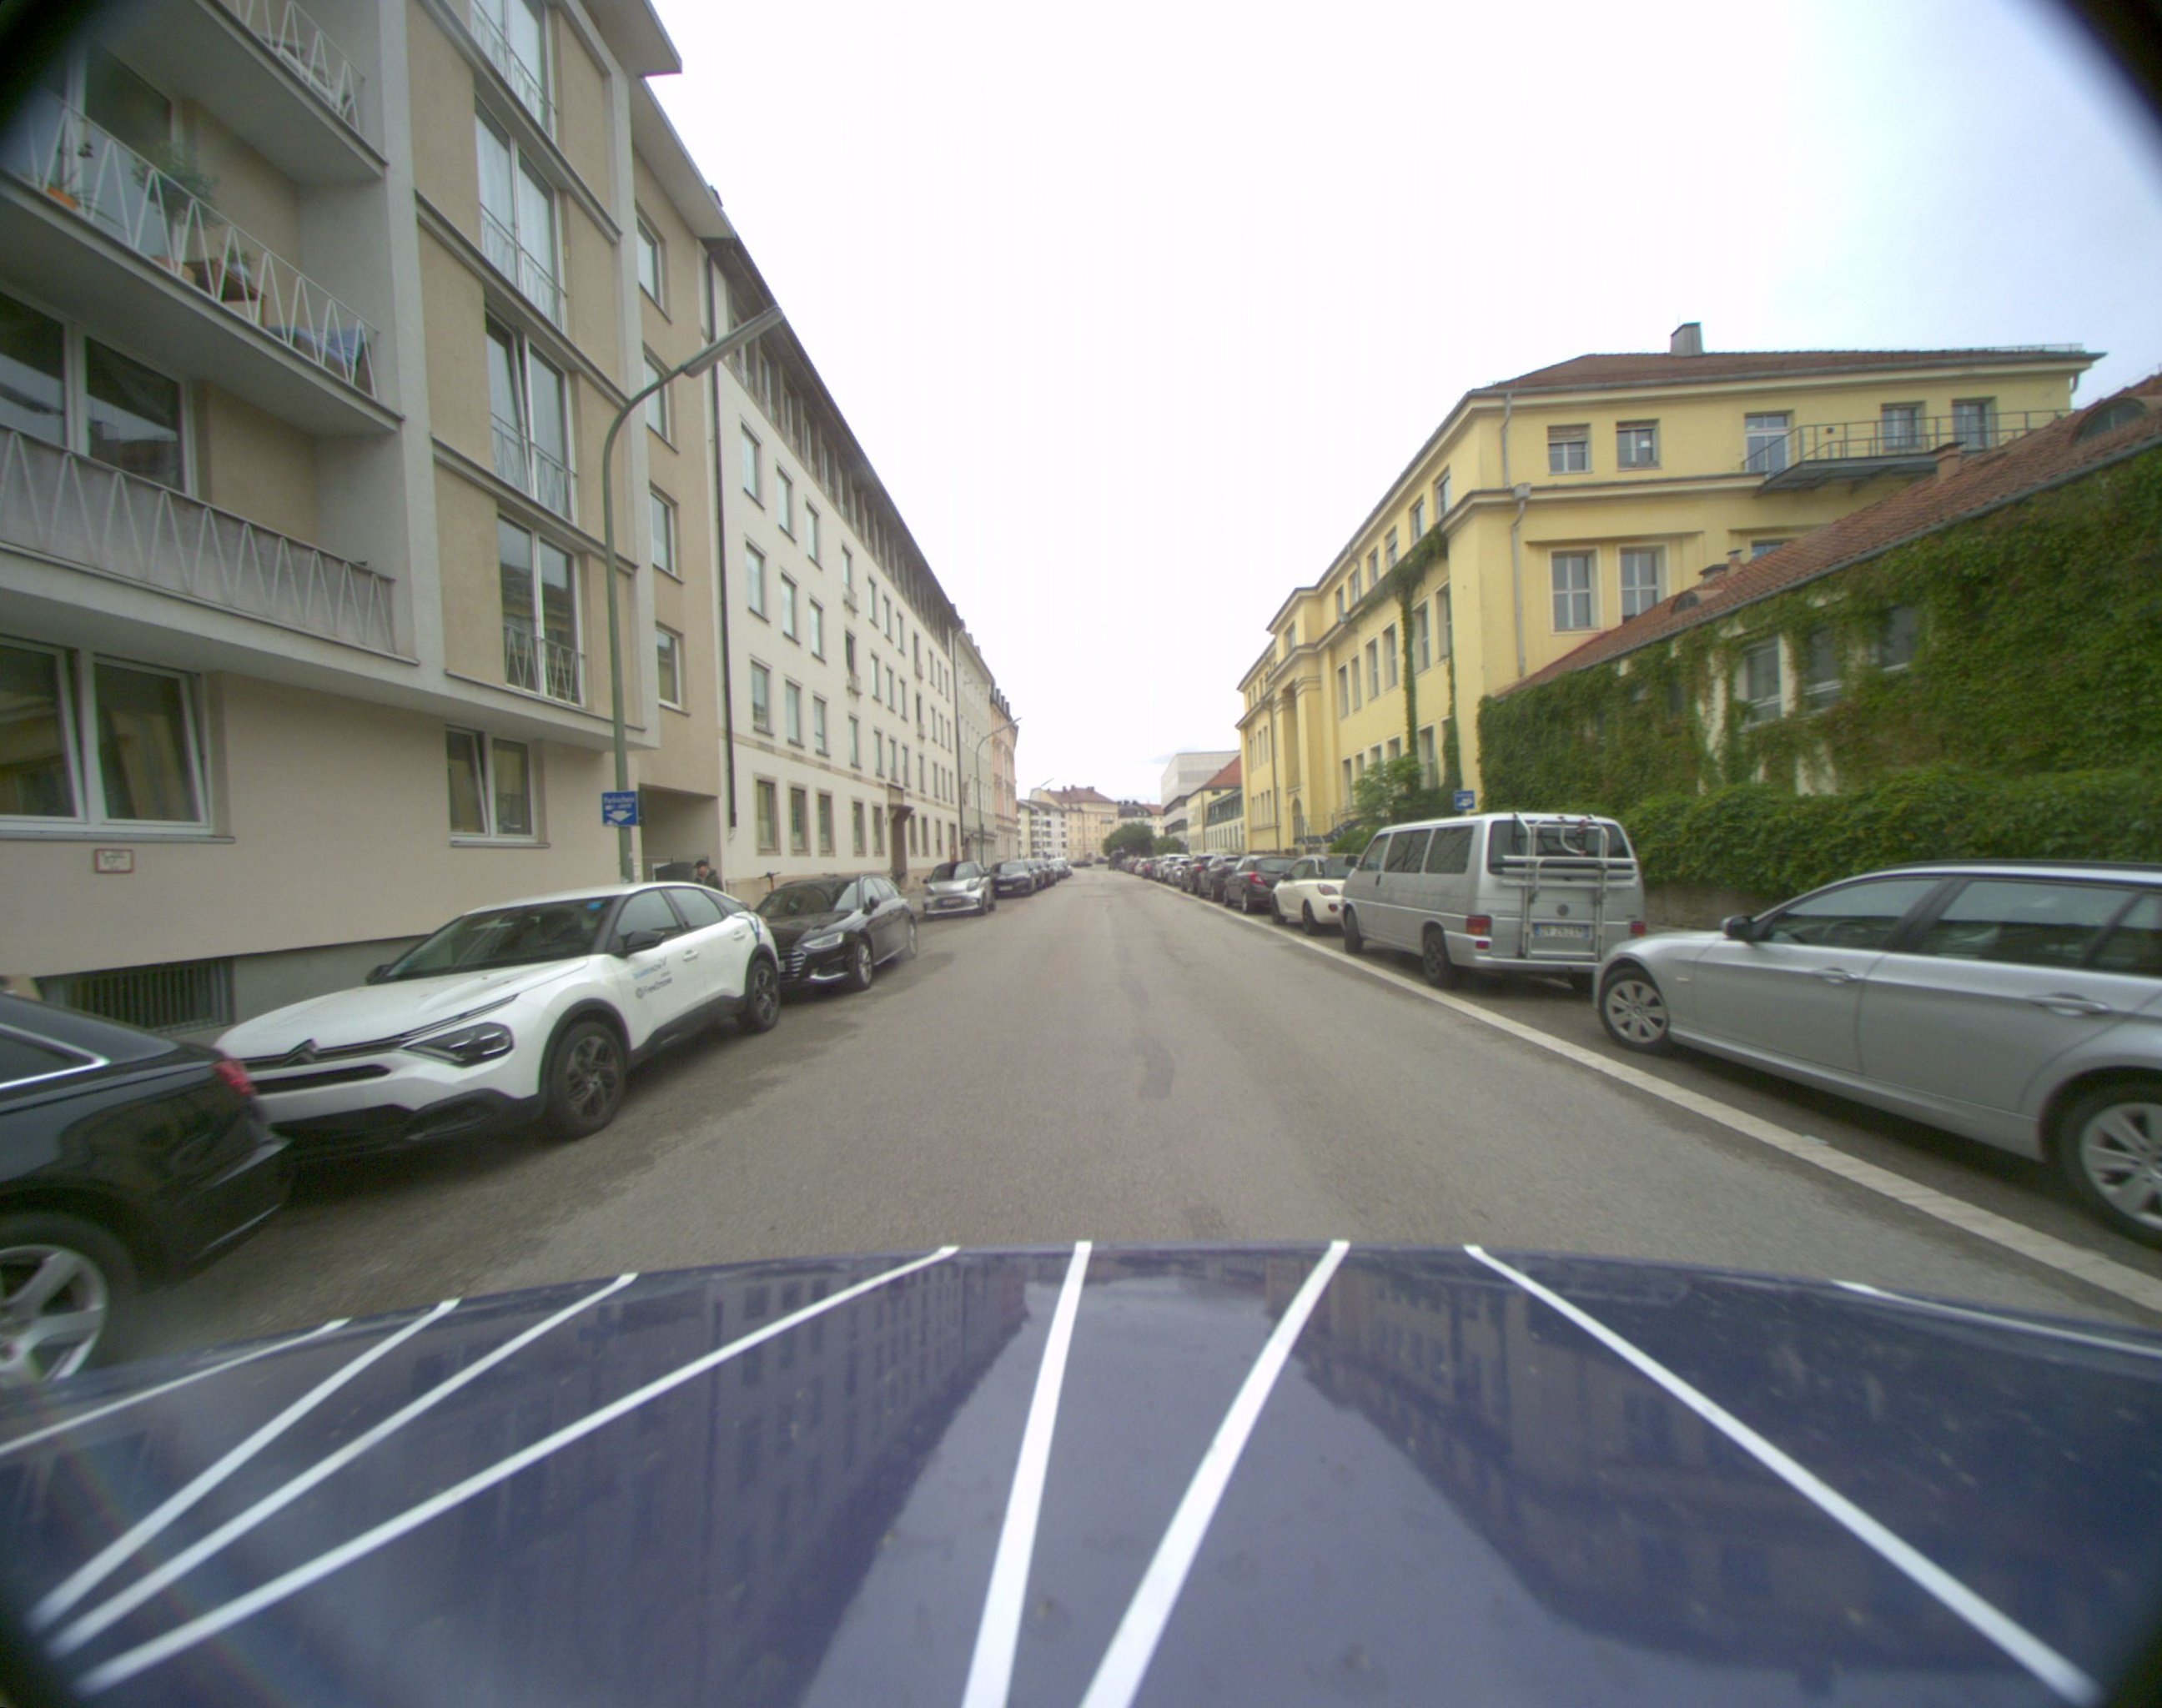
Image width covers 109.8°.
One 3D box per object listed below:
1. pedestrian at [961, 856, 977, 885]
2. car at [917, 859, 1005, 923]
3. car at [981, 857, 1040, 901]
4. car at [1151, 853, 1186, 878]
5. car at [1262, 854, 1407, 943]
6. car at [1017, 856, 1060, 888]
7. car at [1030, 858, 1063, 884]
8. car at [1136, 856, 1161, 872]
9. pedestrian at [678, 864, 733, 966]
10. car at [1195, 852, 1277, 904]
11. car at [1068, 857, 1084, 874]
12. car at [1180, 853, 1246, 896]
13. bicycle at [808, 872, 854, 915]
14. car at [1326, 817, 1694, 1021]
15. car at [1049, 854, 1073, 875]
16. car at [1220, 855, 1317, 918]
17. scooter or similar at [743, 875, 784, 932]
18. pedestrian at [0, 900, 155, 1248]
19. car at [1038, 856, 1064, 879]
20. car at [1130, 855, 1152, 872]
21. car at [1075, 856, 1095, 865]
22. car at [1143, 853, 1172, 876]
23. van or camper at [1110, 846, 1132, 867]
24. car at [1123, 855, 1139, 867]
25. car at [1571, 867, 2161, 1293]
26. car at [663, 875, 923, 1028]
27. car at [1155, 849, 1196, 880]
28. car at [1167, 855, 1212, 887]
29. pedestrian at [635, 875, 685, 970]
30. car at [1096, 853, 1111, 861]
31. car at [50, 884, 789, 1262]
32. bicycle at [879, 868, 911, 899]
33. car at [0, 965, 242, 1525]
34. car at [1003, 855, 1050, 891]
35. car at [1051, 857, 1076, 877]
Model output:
[{"bbox_3d":[-6.353,0.924,43.229,0.736,1.616,0.828,-1,0,2],"label":"pedestrian"},{"bbox_3d":[-3.345,1.001,21.929,1.676,1.526,3.881,-5,0,2],"label":"car"},{"bbox_3d":[-2.839,0.987,31.584,1.860,1.535,4.816,-4,0,0],"label":"car"},{"bbox_3d":[5.554,0.711,48.799,1.684,1.496,3.972,-2,0,-1],"label":"car"},{"bbox_3d":[4.775,0.761,14.832,1.582,1.484,3.730,1,0,0],"label":"car"},{"bbox_3d":[-2.266,0.962,41.892,1.782,1.575,4.331,-4,0,3],"label":"car"},{"bbox_3d":[-2.227,1.083,49.773,1.696,1.455,4.083,-5,0,2],"label":"car"},{"bbox_3d":[5.858,0.867,66.246,1.679,1.389,3.997,1,0,-1],"label":"car"},{"bbox_3d":[-6.280,1.002,12.727,0.598,1.644,0.630,0,1,1],"label":"pedestrian"},{"bbox_3d":[4.964,0.720,24.833,1.786,1.529,4.148,0,0,-1],"label":"car"},{"bbox_3d":[-0.496,1.130,77.532,1.608,1.632,3.631,-2,0,0],"label":"car"},{"bbox_3d":[5.094,0.737,29.880,1.786,1.529,4.195,1,0,-1],"label":"car"},{"bbox_3d":[-7.457,1.149,22.763,0.660,1.156,2.028,-1,0,2],"label":"bicycle"},{"bbox_3d":[4.768,0.601,9.483,1.998,1.864,4.759,1,0,2],"label":"car"},{"bbox_3d":[-1.883,0.963,73.051,1.845,1.775,4.895,-5,0,1],"label":"car"},{"bbox_3d":[4.810,0.770,19.999,1.582,1.447,3.904,1,0,0],"label":"car"},{"bbox_3d":[-7.665,1.171,18.383,0.601,1.246,1.037,-1,4,-7],"label":"scooter or similar"},{"bbox_3d":[-5.807,1.117,3.702,0.900,1.678,1.319,-2,1,0],"label":"pedestrian"},{"bbox_3d":[-2.167,0.951,55.239,1.696,1.574,4.082,-2,1,-1],"label":"car"},{"bbox_3d":[5.693,0.847,72.007,1.679,1.557,3.997,1,0,-1],"label":"car"},{"bbox_3d":[0.826,1.408,163.701,4.248,1.849,1.999,-1,0,-4],"label":"car"},{"bbox_3d":[5.350,0.711,53.478,1.684,1.487,3.986,1,0,1],"label":"car"},{"bbox_3d":[5.661,0.389,108.184,2.142,2.791,5.570,-1,0,-6],"label":"van or camper"},{"bbox_3d":[6.396,0.912,97.163,1.700,1.553,3.867,1,0,-1],"label":"car"},{"bbox_3d":[4.698,0.848,3.771,1.705,1.414,4.424,1,1,1],"label":"car"},{"bbox_3d":[-3.540,1.109,10.368,1.800,1.412,4.482,-2,1,0],"label":"car"},{"bbox_3d":[5.371,0.583,43.735,1.684,1.624,4.356,-2,1,-2],"label":"car"},{"bbox_3d":[5.397,0.819,38.238,1.684,1.417,3.894,2,0,0],"label":"car"},{"bbox_3d":[-7.220,1.164,13.036,0.532,1.575,0.560,0,1,1],"label":"pedestrian"},{"bbox_3d":[5.890,0.818,199.393,3.996,1.849,2.000,-2,1,2],"label":"car"},{"bbox_3d":[-3.876,1.105,5.641,1.743,1.490,4.218,-2,1,0],"label":"car"},{"bbox_3d":[-7.318,1.144,29.970,0.660,1.120,2.028,-1,0,2],"label":"bicycle"},{"bbox_3d":[-3.996,1.197,0.507,1.743,1.490,4.495,-2,1,2],"label":"car"},{"bbox_3d":[-2.576,0.881,37.008,1.783,1.575,4.271,-2,1,2],"label":"car"},{"bbox_3d":[-1.391,1.036,61.758,1.696,1.443,4.084,-1,0,3],"label":"car"}]
